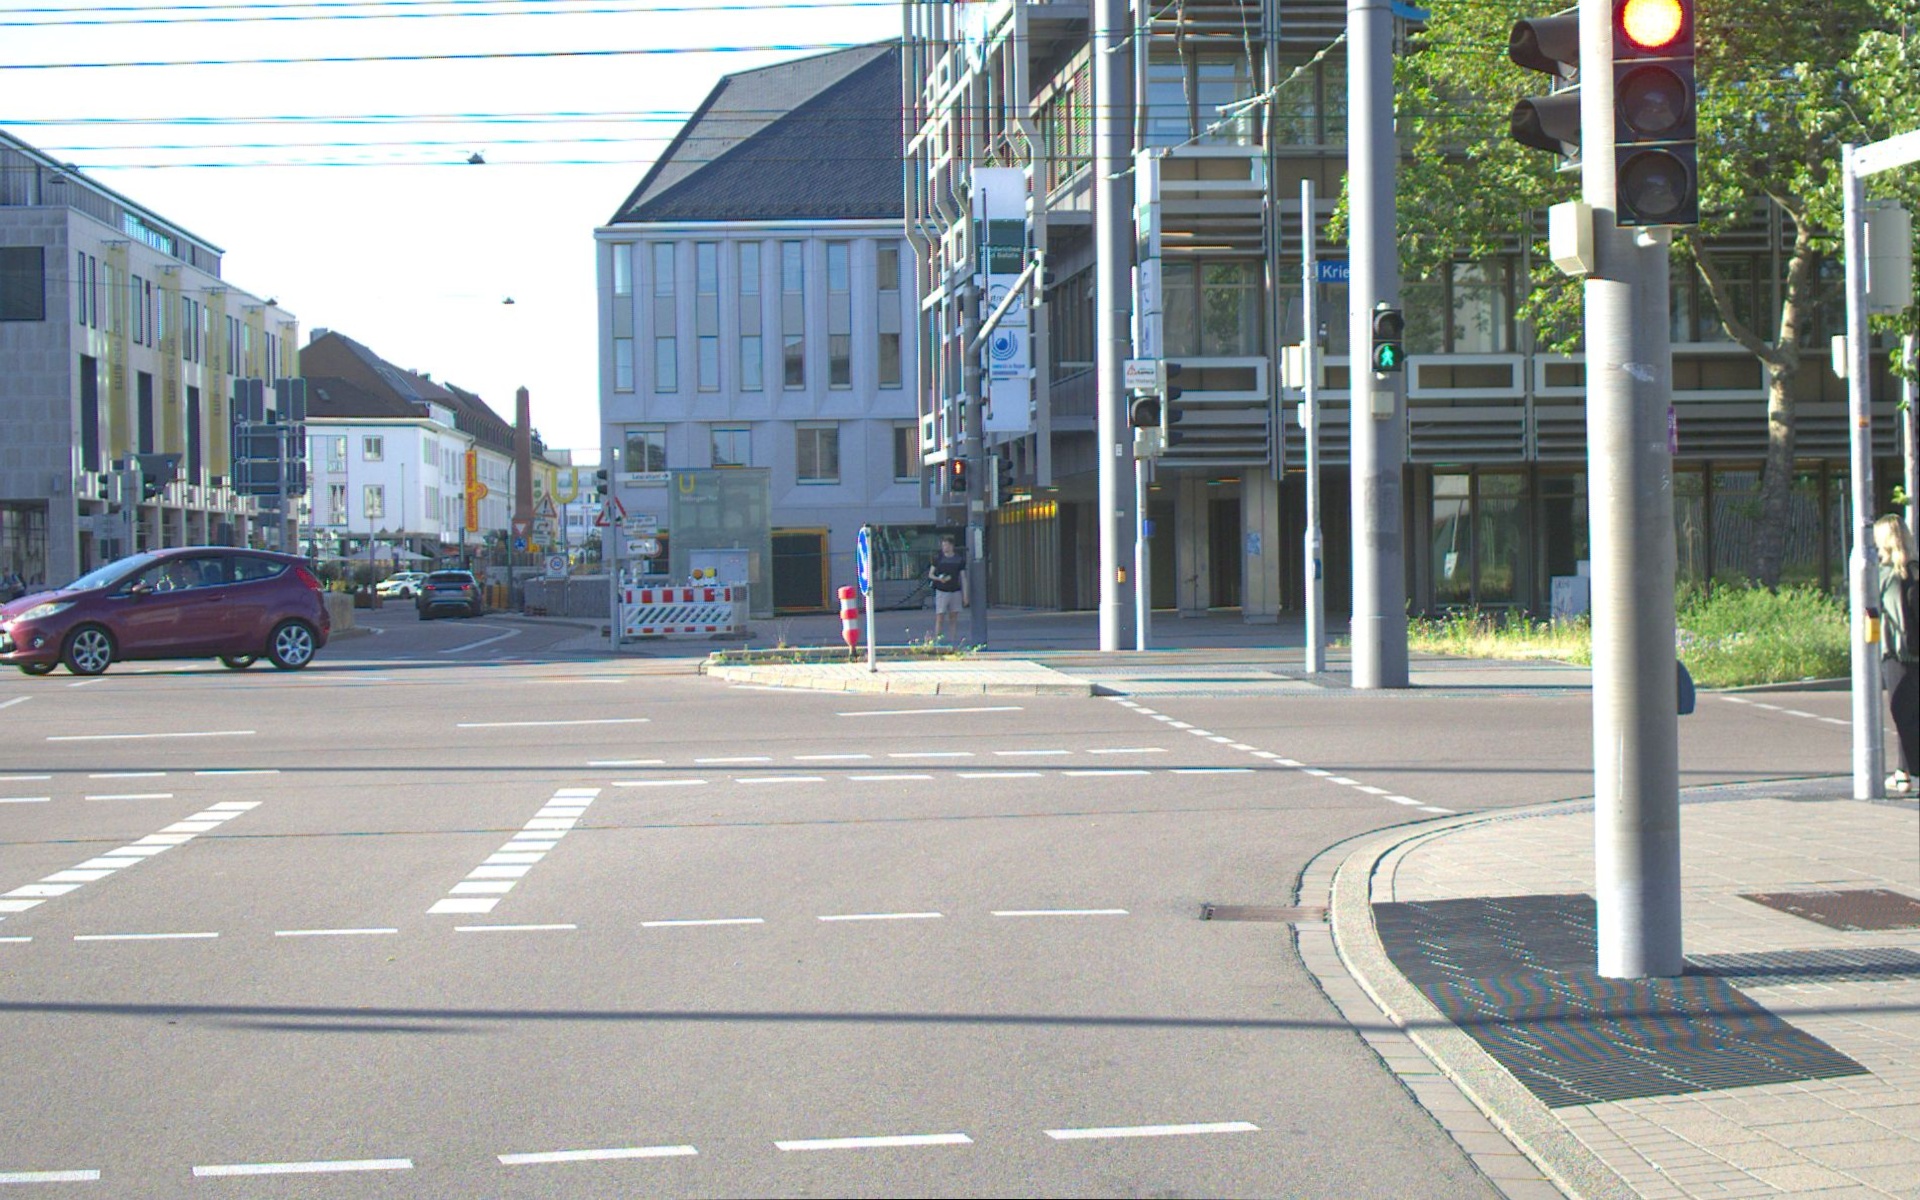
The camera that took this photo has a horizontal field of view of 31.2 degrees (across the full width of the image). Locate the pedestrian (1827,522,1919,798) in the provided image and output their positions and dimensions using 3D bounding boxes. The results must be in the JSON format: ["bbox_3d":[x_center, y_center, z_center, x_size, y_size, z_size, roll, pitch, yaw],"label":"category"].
[{"bbox_3d":[5.262,0.326,18.923,0.788,1.487,0.644,1,0,-1],"label":"pedestrian"}]

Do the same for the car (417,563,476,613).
[{"bbox_3d":[-16.143,-0.389,108.208,1.737,1.525,3.856,1,1,-7],"label":"car"}]

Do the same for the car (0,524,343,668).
[{"bbox_3d":[-9.274,-0.072,39.685,3.886,1.579,1.659,-1,1,-35],"label":"car"}]

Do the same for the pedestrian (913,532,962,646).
[{"bbox_3d":[-0.370,-0.185,57.313,0.788,1.883,0.644,1,0,-1],"label":"pedestrian"}]

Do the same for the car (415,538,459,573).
[{"bbox_3d":[-25.152,-2.123,165.395,1.797,1.652,4.001,1,1,-4],"label":"car"}]

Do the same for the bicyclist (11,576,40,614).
[{"bbox_3d":[-26.929,-0.153,99.047,0.511,1.080,0.624,1,1,29],"label":"bicyclist"}]

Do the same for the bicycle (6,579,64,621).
[{"bbox_3d":[-26.736,-0.004,99.404,0.511,1.202,1.808,1,1,29],"label":"bicycle"}]
